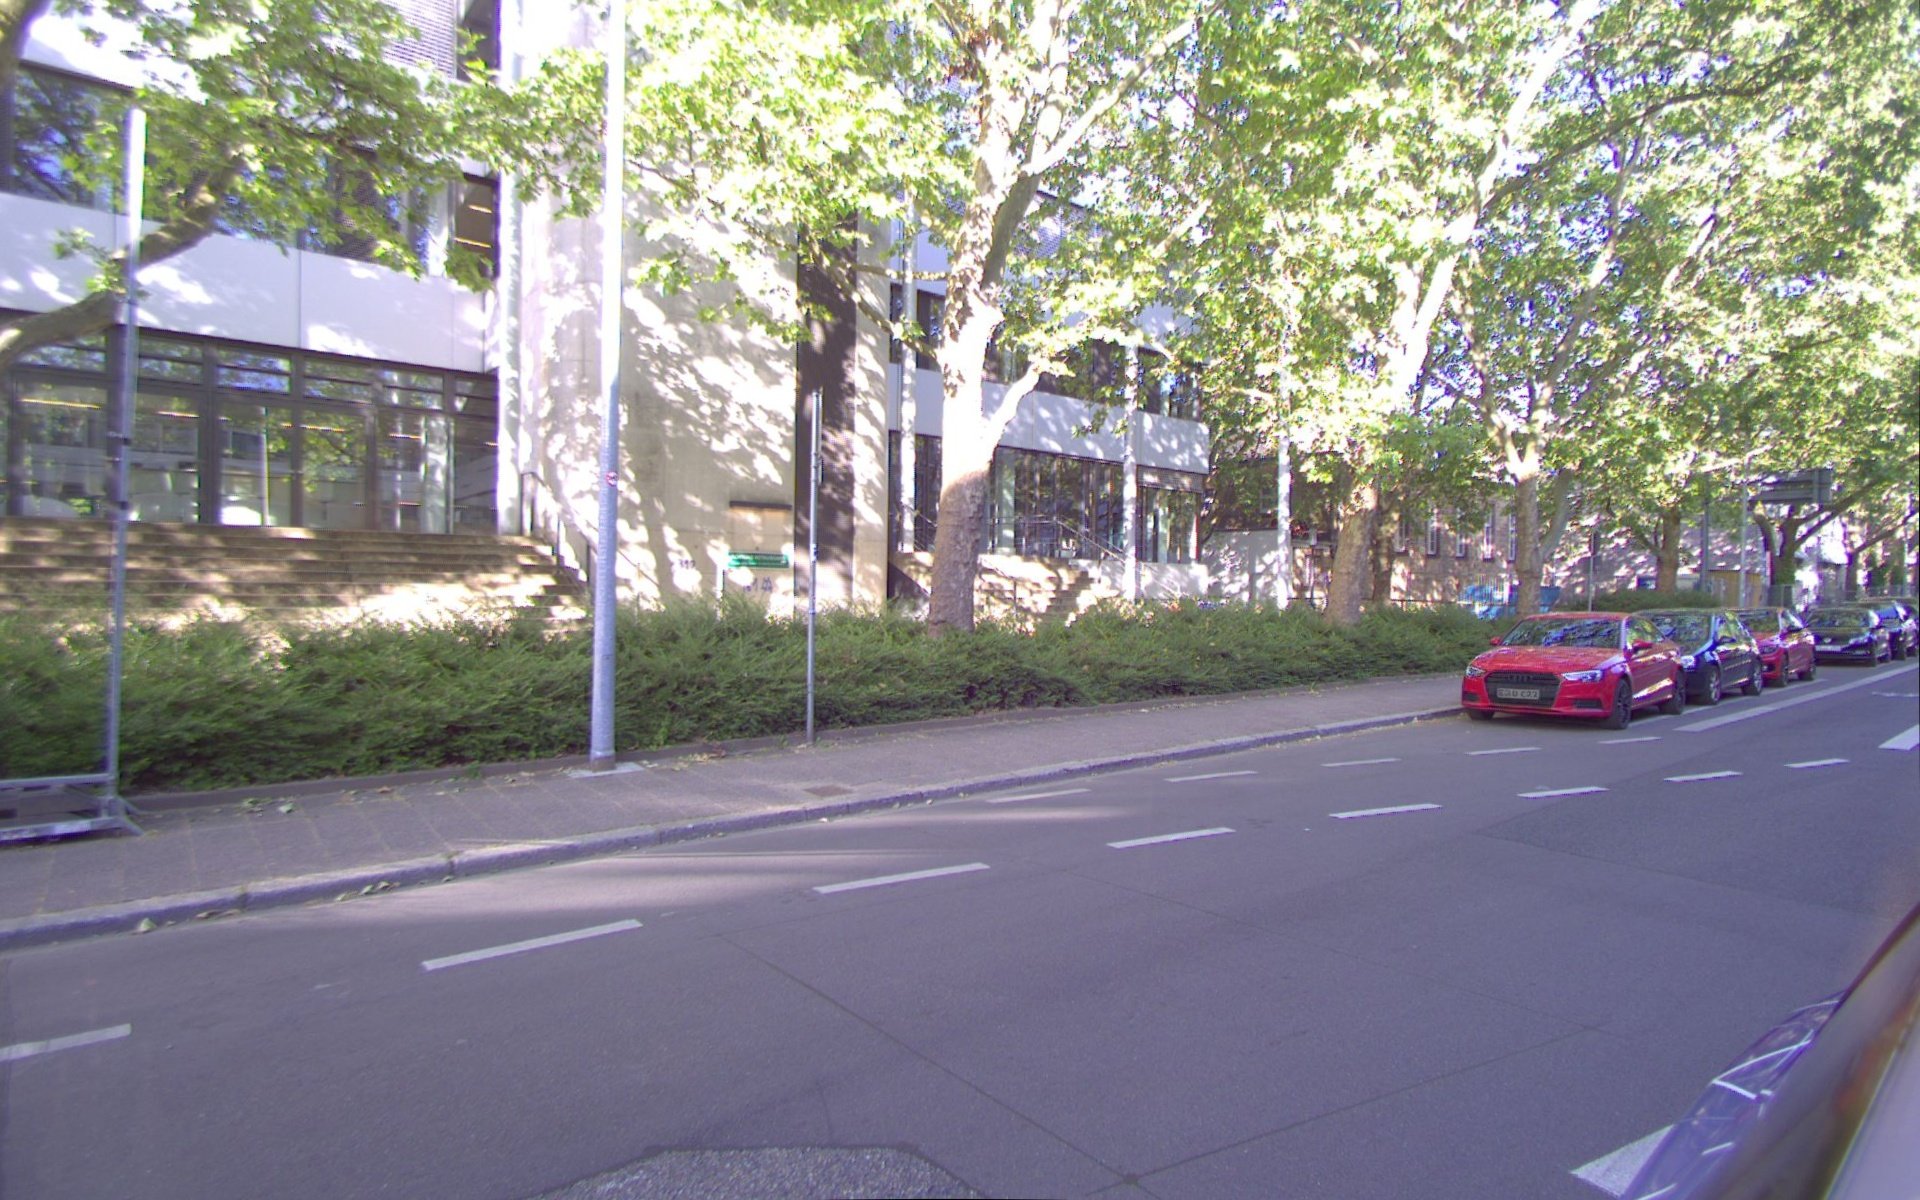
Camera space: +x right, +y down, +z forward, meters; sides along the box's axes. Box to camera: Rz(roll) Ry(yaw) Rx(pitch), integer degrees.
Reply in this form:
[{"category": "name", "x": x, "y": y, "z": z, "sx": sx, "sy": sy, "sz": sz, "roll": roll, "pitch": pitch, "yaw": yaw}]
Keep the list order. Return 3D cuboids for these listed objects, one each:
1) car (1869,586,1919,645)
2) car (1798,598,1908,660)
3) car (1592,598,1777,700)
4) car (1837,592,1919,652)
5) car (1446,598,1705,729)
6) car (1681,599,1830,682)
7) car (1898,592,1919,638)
[{"category": "car", "x": 30.914, "y": 0.479, "z": 32.825, "sx": 3.777, "sy": 1.828, "sz": 1.634, "roll": 0, "pitch": -1, "yaw": -41}, {"category": "car", "x": 22.972, "y": 0.700, "z": 26.000, "sx": 3.674, "sy": 1.483, "sz": 1.634, "roll": 0, "pitch": -1, "yaw": -41}, {"category": "car", "x": 11.910, "y": 0.722, "z": 16.568, "sx": 3.674, "sy": 1.483, "sz": 1.634, "roll": 0, "pitch": -1, "yaw": -41}, {"category": "car", "x": 26.589, "y": 0.588, "z": 29.022, "sx": 3.777, "sy": 1.607, "sz": 1.634, "roll": 0, "pitch": -1, "yaw": -41}, {"category": "car", "x": 8.314, "y": 0.726, "z": 13.532, "sx": 4.053, "sy": 1.483, "sz": 1.802, "roll": 0, "pitch": -1, "yaw": -41}, {"category": "car", "x": 15.718, "y": 0.727, "z": 19.938, "sx": 3.674, "sy": 1.483, "sz": 1.634, "roll": 0, "pitch": -1, "yaw": -41}, {"category": "car", "x": 35.932, "y": 0.535, "z": 37.241, "sx": 3.777, "sy": 1.675, "sz": 1.634, "roll": 0, "pitch": -1, "yaw": -41}]
